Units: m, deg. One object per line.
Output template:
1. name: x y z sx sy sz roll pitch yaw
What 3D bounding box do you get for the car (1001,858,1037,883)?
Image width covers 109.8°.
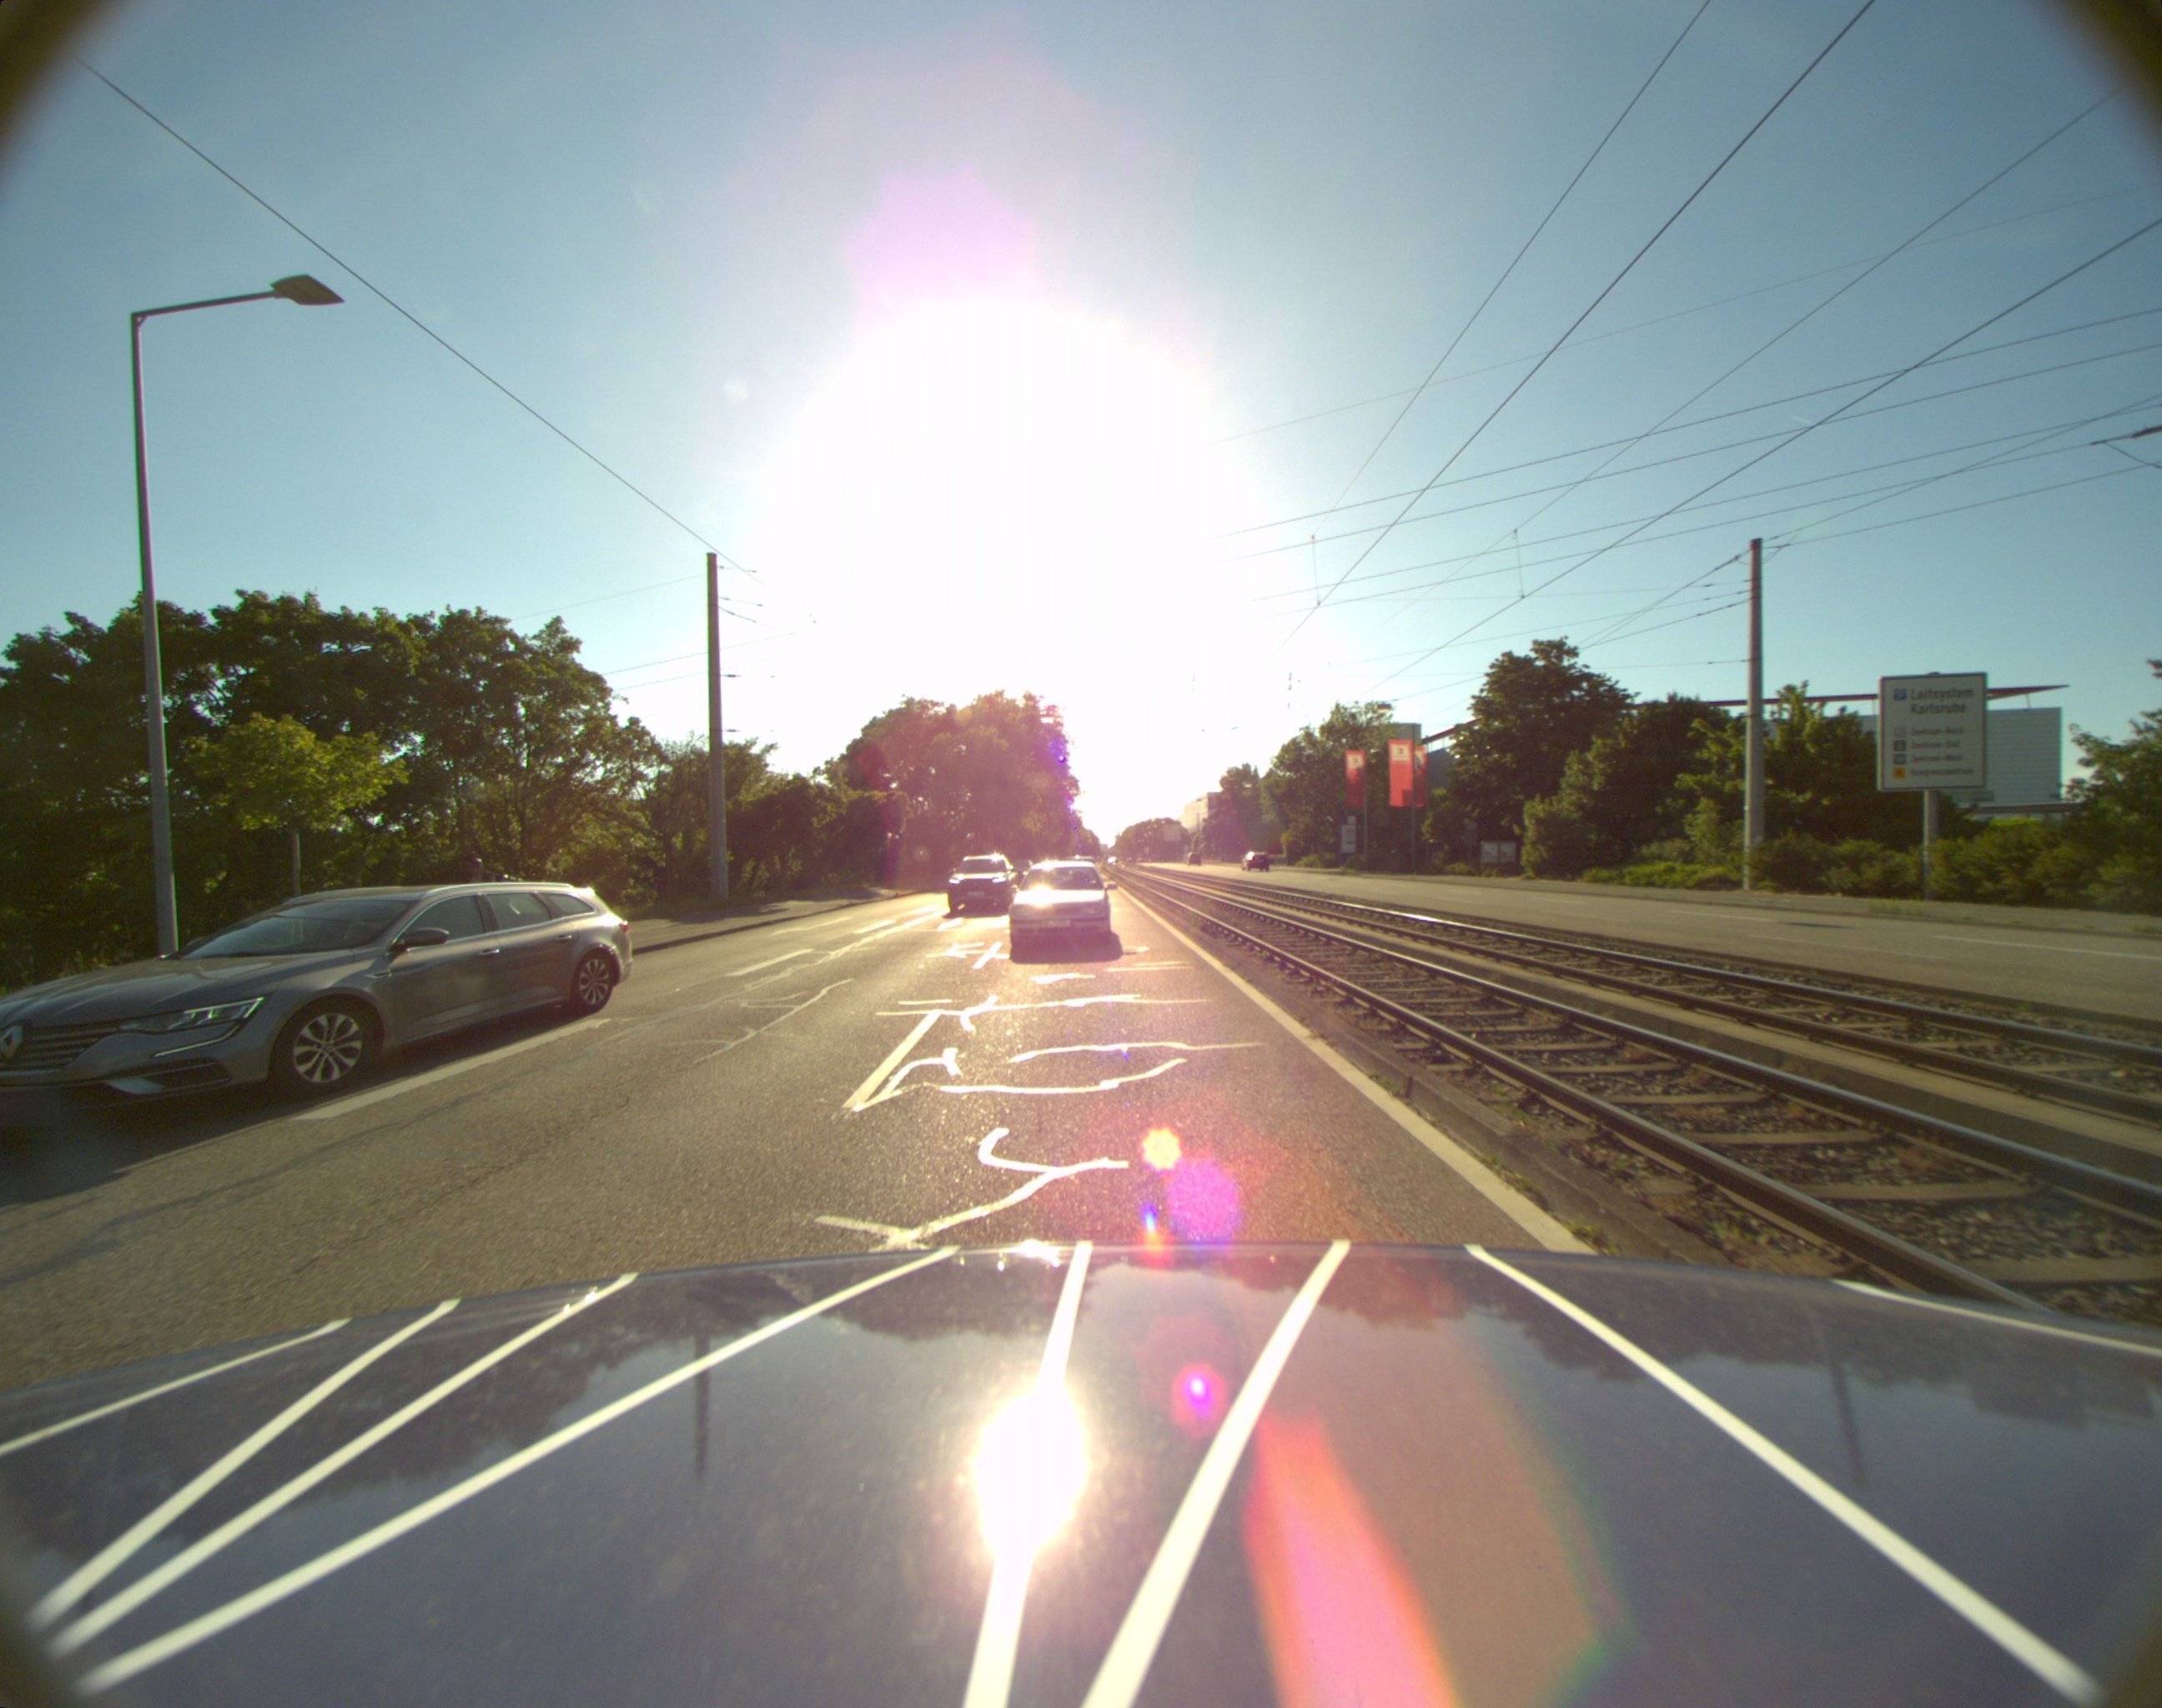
1. car: -3.893 1.005 48.431 1.874 1.405 4.001 -2 1 1

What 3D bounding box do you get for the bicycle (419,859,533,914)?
1. bicycle: -10.335 0.535 13.046 0.628 0.829 1.634 2 1 1

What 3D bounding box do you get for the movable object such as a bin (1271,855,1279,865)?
1. movable object such as a bin: 20.946 0.631 82.126 0.614 0.960 1.083 -3 1 1

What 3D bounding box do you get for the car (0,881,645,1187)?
1. car: -6.149 1.104 6.553 1.881 1.435 4.659 -2 1 2

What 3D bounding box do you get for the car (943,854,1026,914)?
1. car: -2.929 0.853 23.959 1.881 1.591 4.416 -2 1 1

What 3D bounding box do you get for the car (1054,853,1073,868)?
1. car: -1.965 0.704 86.105 1.881 1.449 4.416 -2 1 1

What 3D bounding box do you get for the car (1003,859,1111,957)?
1. car: -0.346 0.884 14.257 1.695 1.437 4.001 -2 1 1

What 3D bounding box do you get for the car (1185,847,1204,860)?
1. car: 15.967 -0.112 107.052 1.998 1.785 4.349 0 1 0

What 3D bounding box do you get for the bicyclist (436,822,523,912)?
1. bicyclist: -10.333 0.202 13.083 0.628 1.463 1.060 2 1 0

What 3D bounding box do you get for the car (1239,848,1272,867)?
1. car: 15.678 0.318 68.436 1.998 1.616 4.683 0 1 1

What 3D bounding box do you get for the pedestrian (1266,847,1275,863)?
1. pedestrian: 21.041 0.097 84.471 0.614 1.638 1.083 -3 1 1

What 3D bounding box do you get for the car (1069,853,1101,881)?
1. car: 0.312 0.770 48.836 1.881 1.591 4.416 -2 1 1
